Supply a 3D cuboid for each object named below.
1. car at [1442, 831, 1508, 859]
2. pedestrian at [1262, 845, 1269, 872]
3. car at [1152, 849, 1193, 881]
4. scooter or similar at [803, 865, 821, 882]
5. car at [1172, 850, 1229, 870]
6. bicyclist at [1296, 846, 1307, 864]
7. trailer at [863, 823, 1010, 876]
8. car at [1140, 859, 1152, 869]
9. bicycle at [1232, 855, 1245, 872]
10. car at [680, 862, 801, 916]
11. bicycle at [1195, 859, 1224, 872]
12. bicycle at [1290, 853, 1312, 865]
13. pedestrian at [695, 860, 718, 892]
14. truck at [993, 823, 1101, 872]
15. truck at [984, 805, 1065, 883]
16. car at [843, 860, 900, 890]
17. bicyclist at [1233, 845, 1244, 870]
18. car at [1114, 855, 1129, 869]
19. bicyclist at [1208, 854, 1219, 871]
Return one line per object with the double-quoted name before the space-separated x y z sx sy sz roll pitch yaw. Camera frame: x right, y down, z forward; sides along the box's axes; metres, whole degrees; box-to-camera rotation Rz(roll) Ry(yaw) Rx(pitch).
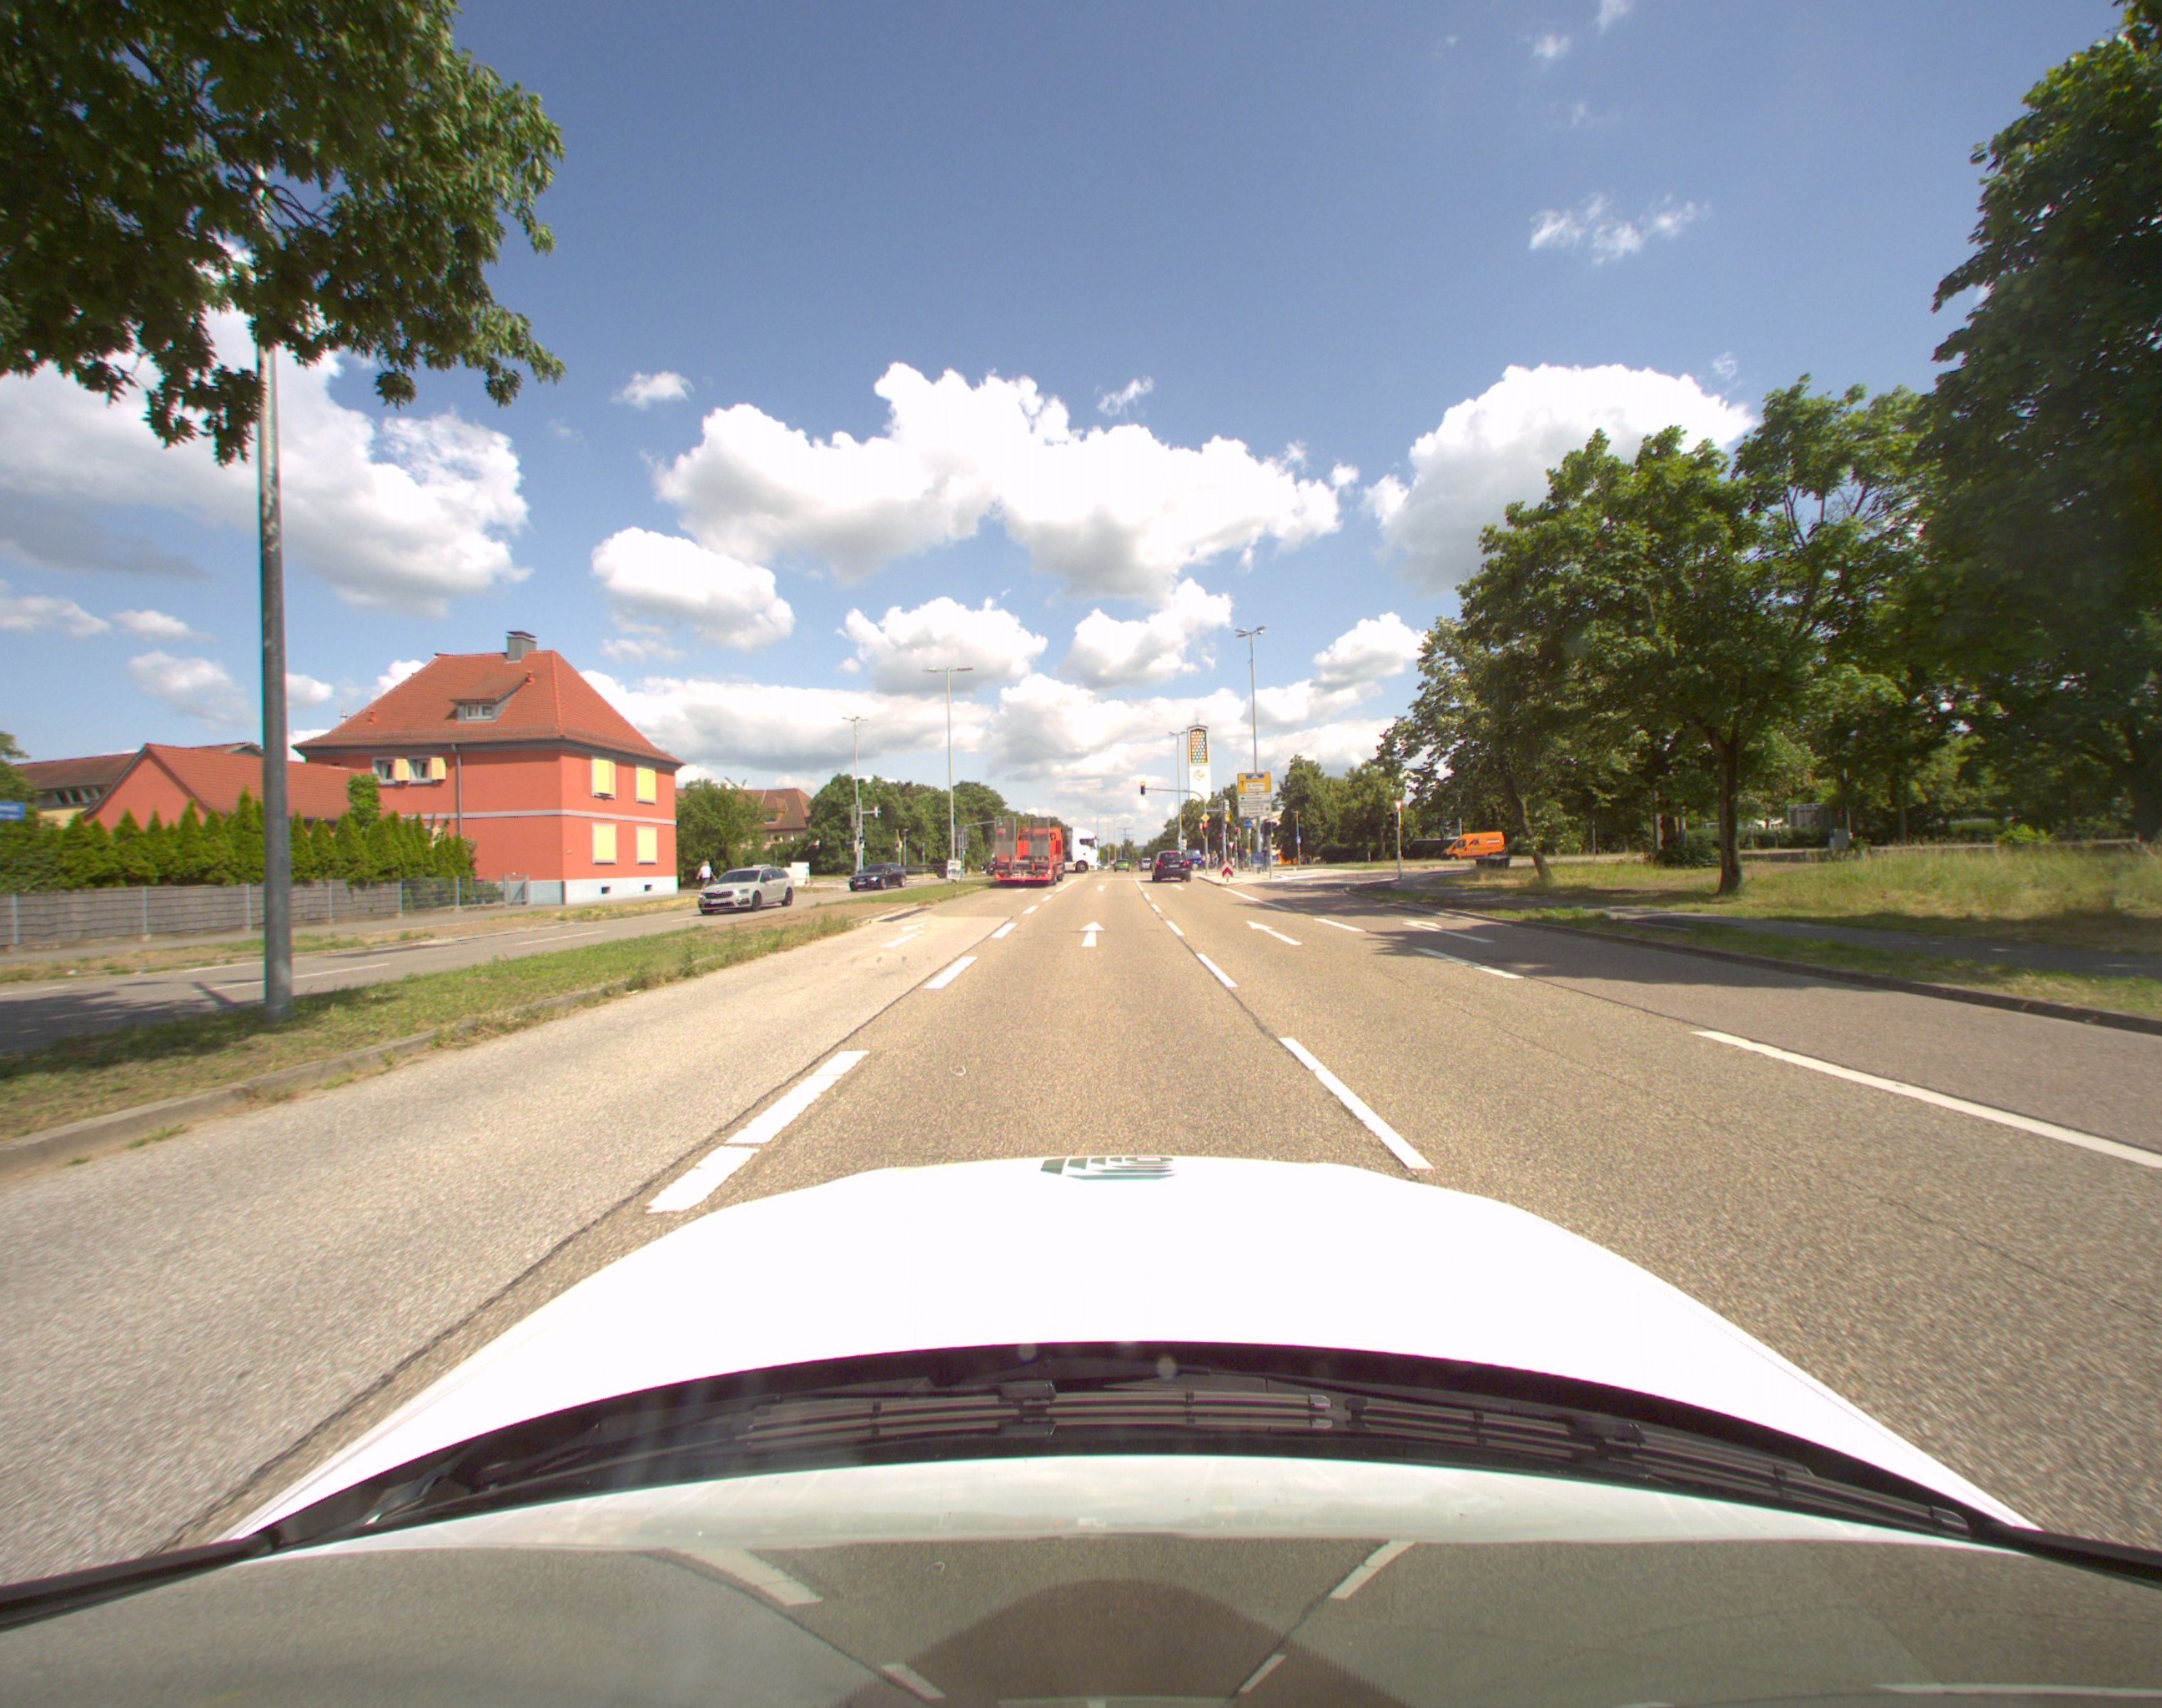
"car" 33.167 -0.720 68.746 4.803 2.226 2.222 0 -1 20
"pedestrian" 12.151 0.273 53.652 0.461 1.779 0.483 0 -1 12
"car" 4.657 0.596 41.878 1.793 1.552 4.001 0 -1 1
"scooter or similar" -17.932 1.299 54.255 0.587 1.164 1.762 0 -1 1
"car" 9.502 0.479 65.028 4.196 1.574 1.851 0 -1 -8
"bicyclist" 22.046 0.078 81.408 0.779 1.804 0.690 -2 -1 29
"trailer" -11.802 -0.374 67.111 11.229 4.012 3.637 -1 0 4
"car" 9.788 1.486 122.692 1.652 1.555 4.001 0 -1 1
"bicycle" 10.517 0.647 54.194 0.643 1.108 1.936 0 -1 17
"car" -11.186 1.098 27.183 1.725 1.508 4.657 -5 -1 4
"bicycle" 12.343 1.101 78.208 2.850 1.112 0.790 -1 -1 -28
"bicycle" 22.011 0.497 81.433 1.978 1.093 0.690 -2 -1 29
"pedestrian" -18.471 1.080 40.200 0.693 1.583 0.851 0 -1 1
"truck" -2.874 -0.514 68.445 8.624 3.971 2.954 0 -1 -15
"truck" -2.598 -0.338 41.593 3.059 3.414 11.070 0 -1 1
"car" -11.180 1.115 43.776 1.765 1.438 4.577 -3 -1 1
"bicyclist" 10.463 0.232 54.016 0.643 1.661 0.653 0 -1 17
"car" 4.860 0.979 98.992 1.734 1.669 3.591 0 -1 1
"bicyclist" 12.764 0.811 78.436 0.702 1.616 0.790 -1 -1 -28
